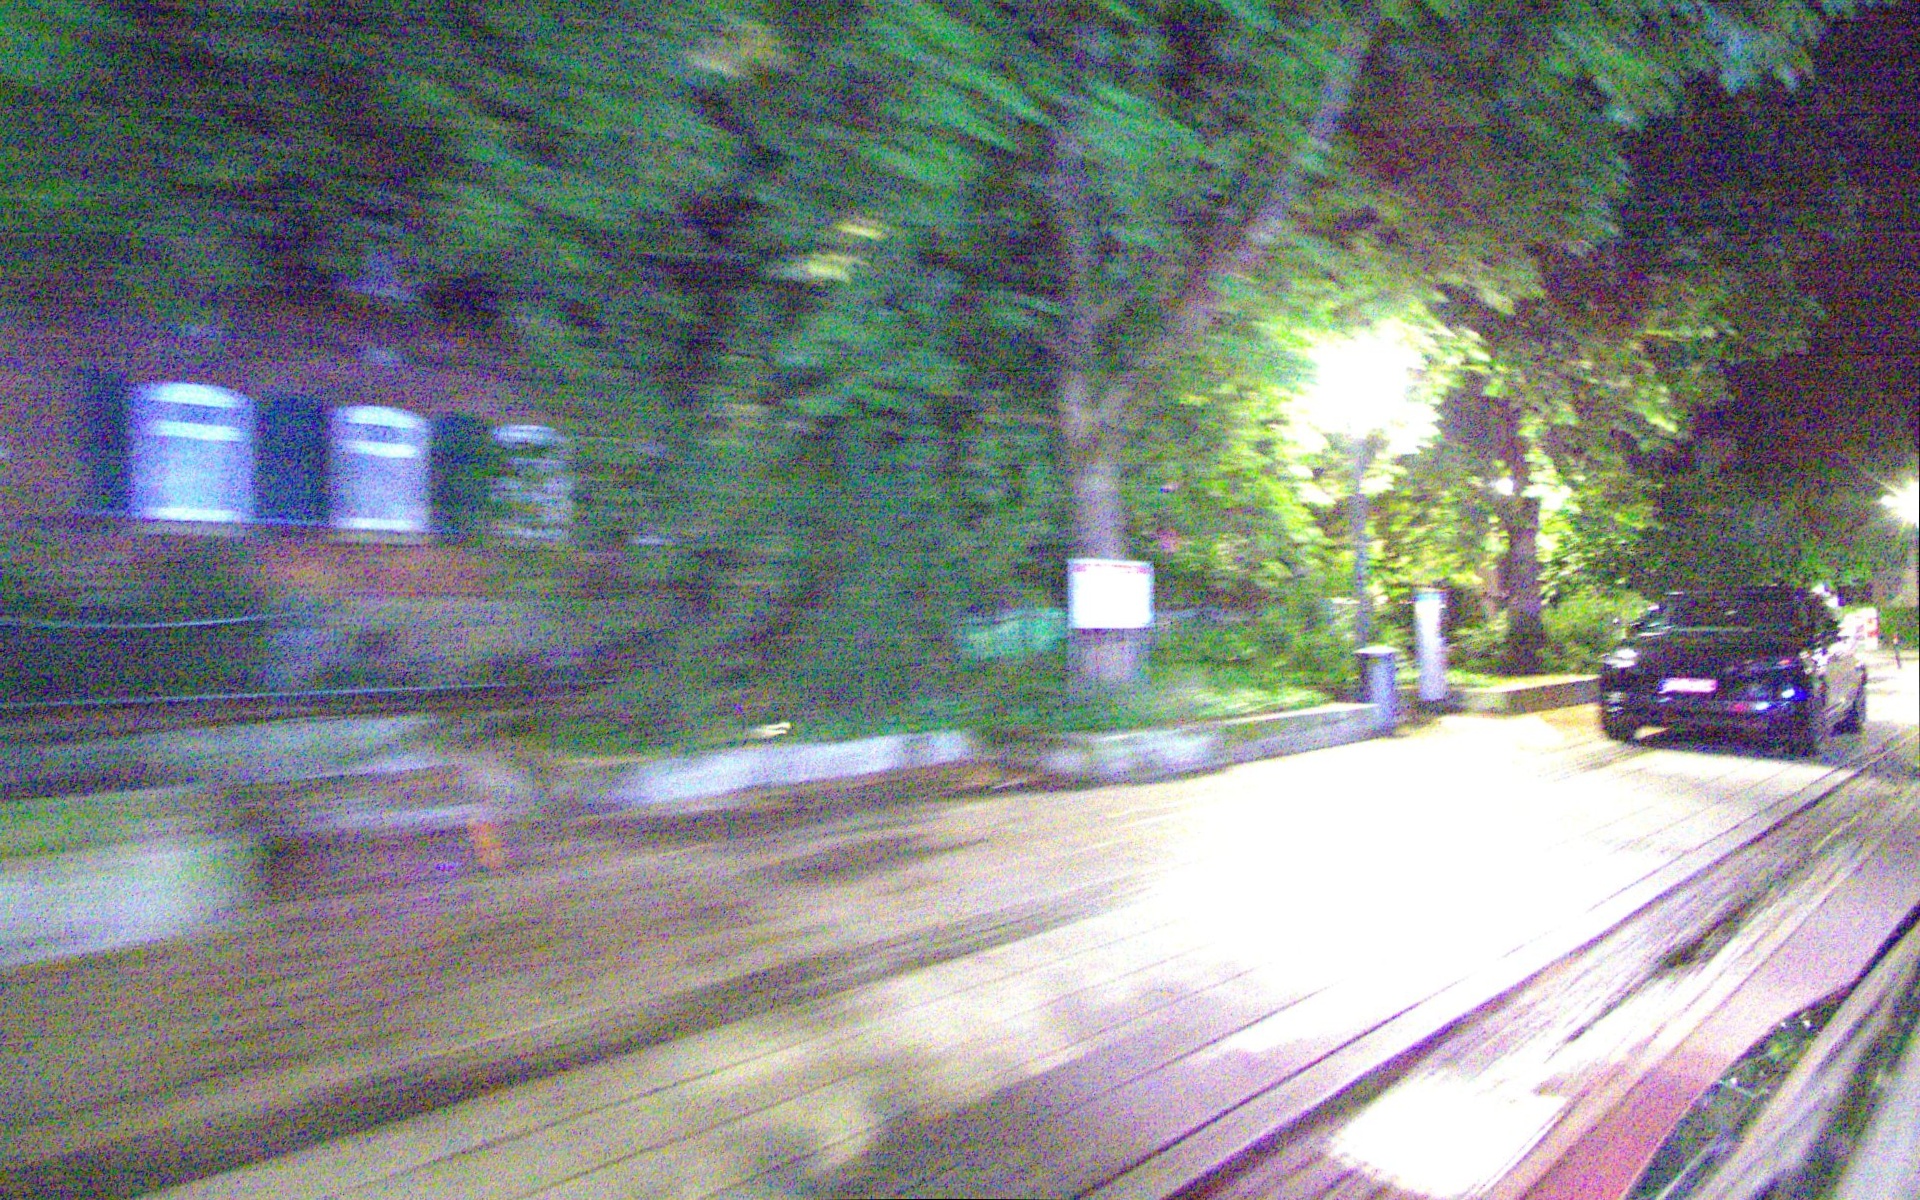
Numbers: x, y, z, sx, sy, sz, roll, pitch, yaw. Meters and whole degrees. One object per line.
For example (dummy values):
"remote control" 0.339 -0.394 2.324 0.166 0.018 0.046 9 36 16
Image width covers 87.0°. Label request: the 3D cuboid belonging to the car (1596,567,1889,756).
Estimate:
"car" 9.507 0.619 12.135 4.851 1.826 1.910 0 -1 -42
